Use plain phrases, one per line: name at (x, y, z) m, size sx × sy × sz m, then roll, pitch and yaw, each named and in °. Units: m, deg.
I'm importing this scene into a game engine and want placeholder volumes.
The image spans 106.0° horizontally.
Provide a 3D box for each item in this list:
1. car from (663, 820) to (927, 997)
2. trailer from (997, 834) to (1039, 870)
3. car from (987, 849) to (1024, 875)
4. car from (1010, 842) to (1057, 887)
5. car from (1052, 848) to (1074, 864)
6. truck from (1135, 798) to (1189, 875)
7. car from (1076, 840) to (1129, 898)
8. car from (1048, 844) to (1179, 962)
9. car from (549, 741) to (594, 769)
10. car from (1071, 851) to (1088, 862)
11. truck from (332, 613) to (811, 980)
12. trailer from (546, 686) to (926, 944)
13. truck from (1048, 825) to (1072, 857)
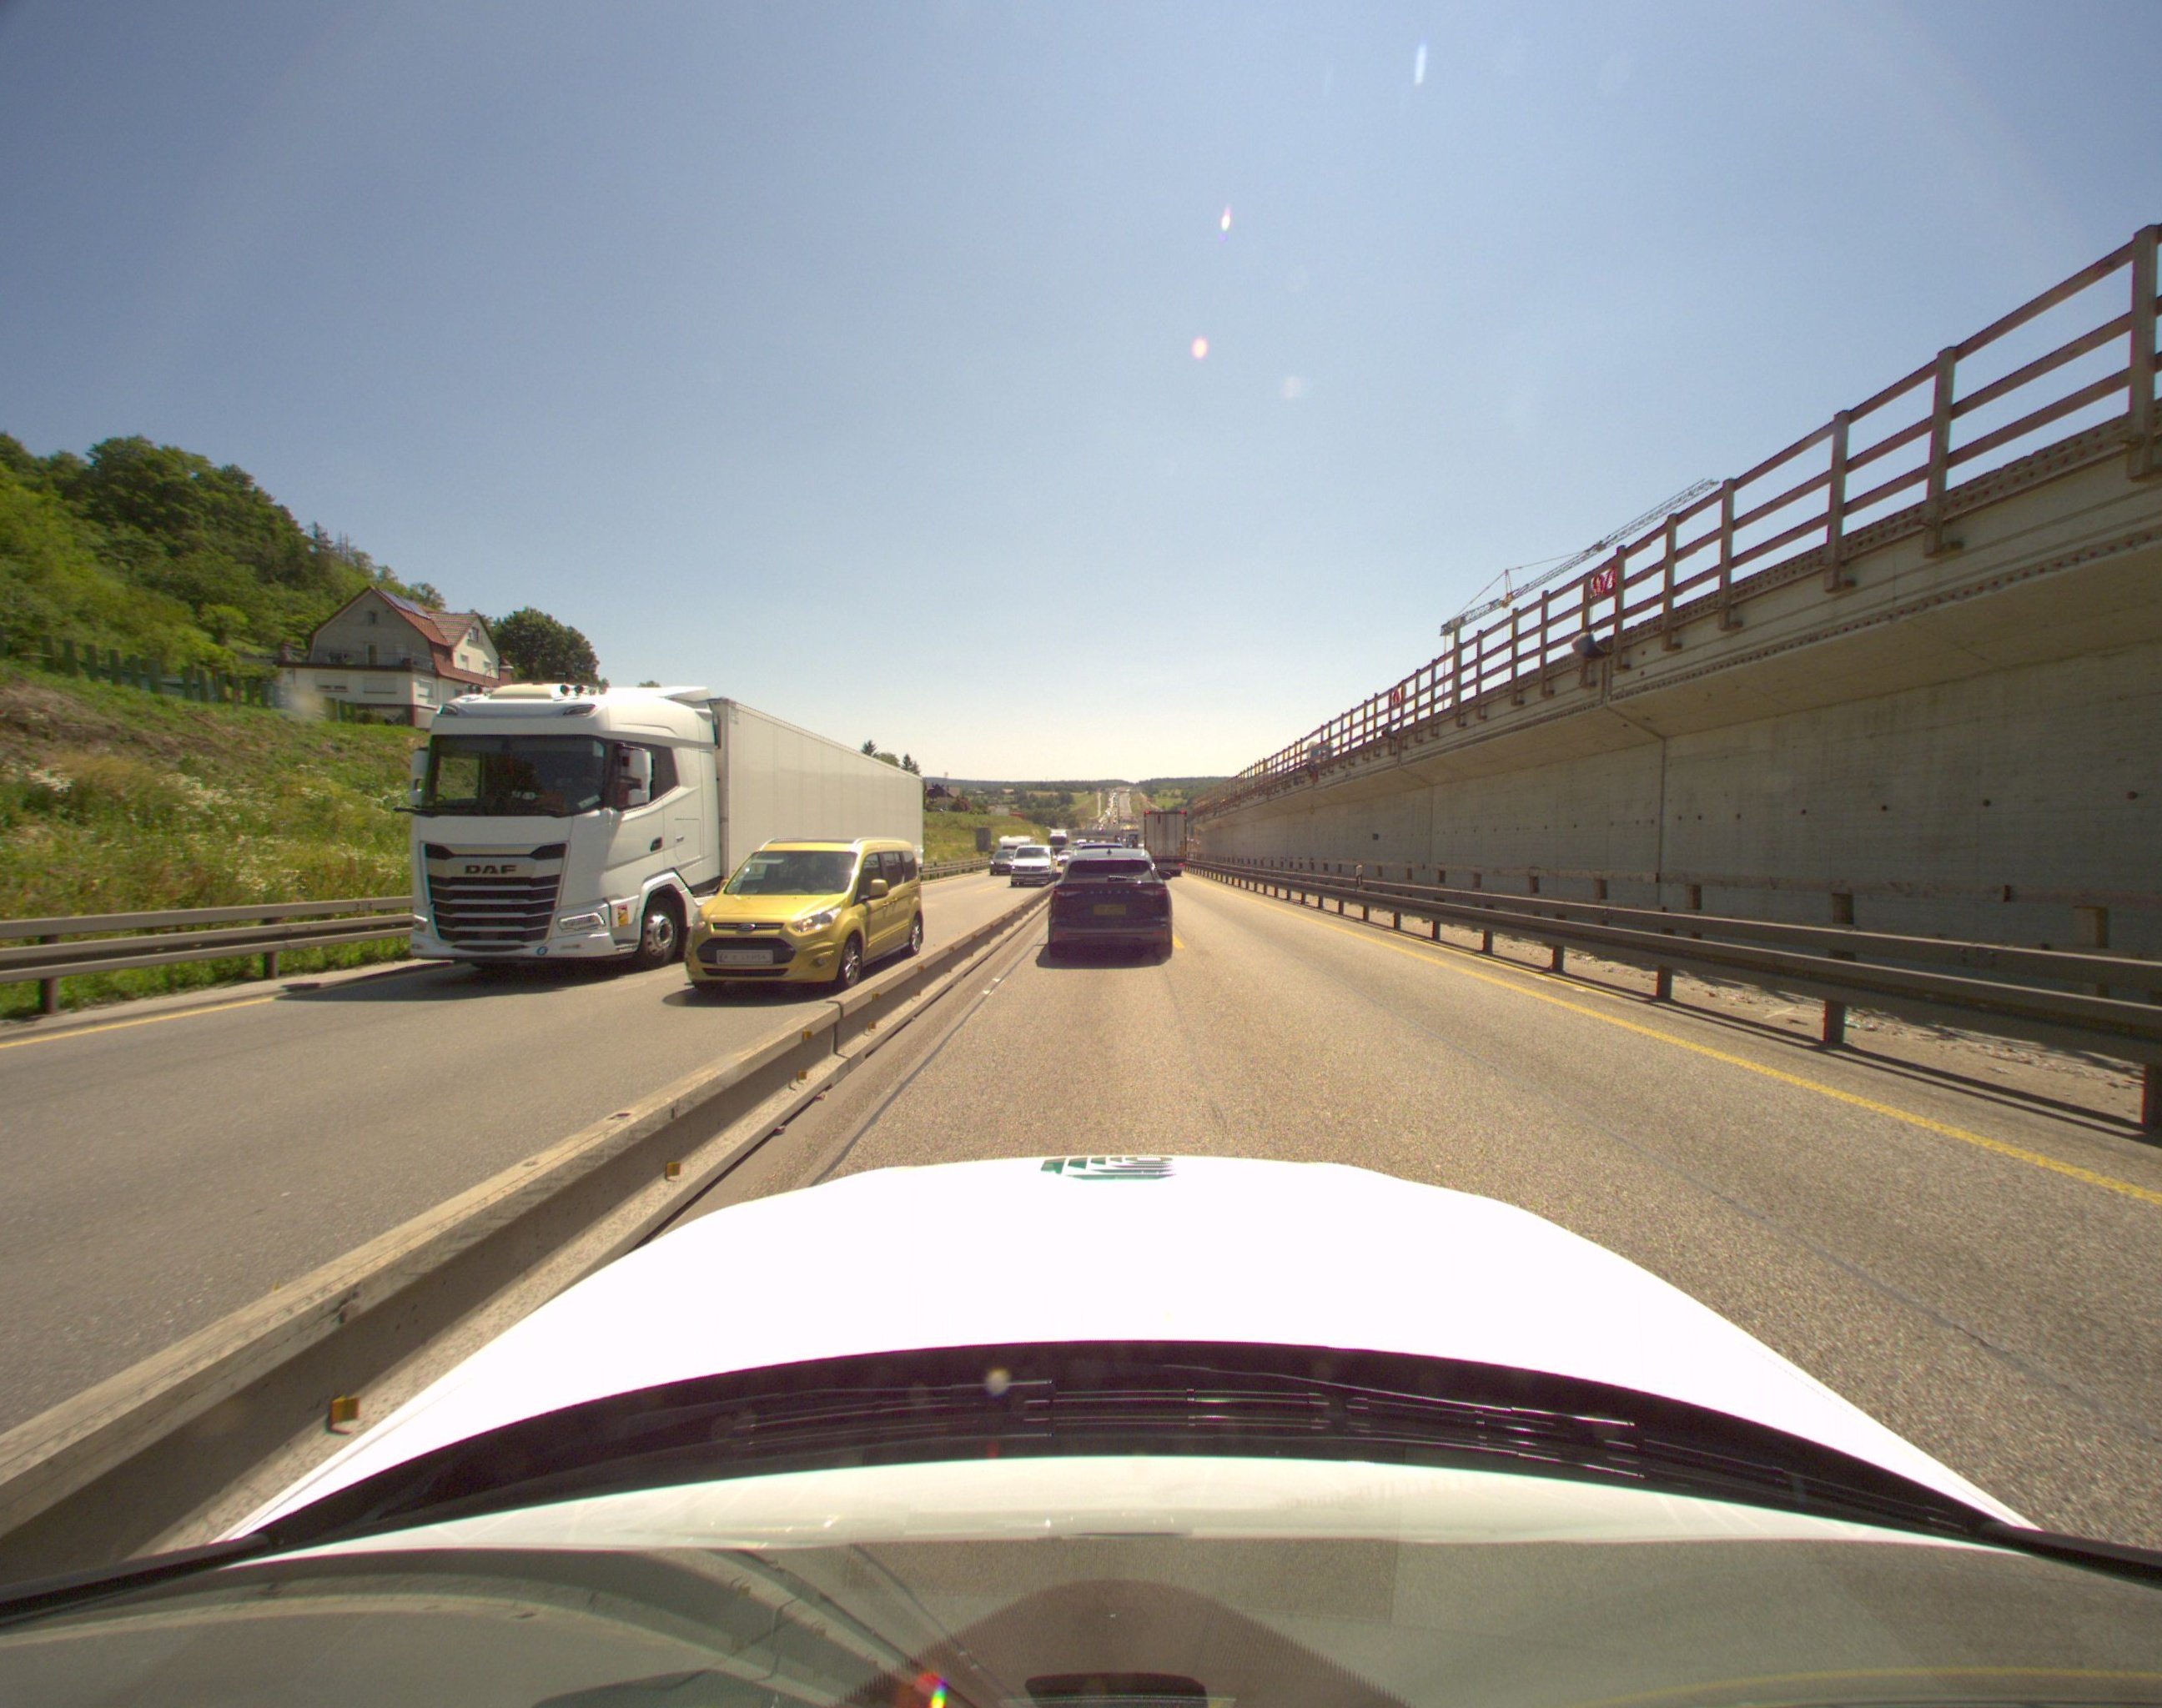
car at (-3.375, 0.561, 10.633) m, size 1.769 × 1.820 × 4.435 m, roll 0°, pitch 0°, yaw 2°
trailer at (-4.801, -0.088, 63.322) m, size 2.475 × 2.613 × 5.871 m, roll -1°, pitch -1°, yaw 3°
car at (-5.077, 0.503, 55.163) m, size 1.869 × 1.712 × 4.651 m, roll 0°, pitch 0°, yaw 3°
car at (-2.200, 0.497, 39.024) m, size 1.856 × 2.014 × 4.807 m, roll 0°, pitch -1°, yaw 2°
car at (-1.630, 0.187, 75.217) m, size 1.696 × 1.441 × 4.002 m, roll -1°, pitch -1°, yaw 3°
truck at (5.284, -0.966, 55.073) m, size 2.835 × 4.615 × 11.816 m, roll 1°, pitch -1°, yaw 2°
car at (0.725, 0.515, 29.547) m, size 1.744 × 1.895 × 3.754 m, roll 2°, pitch 0°, yaw -1°
car at (0.461, 0.673, 12.963) m, size 1.777 × 1.597 × 3.755 m, roll 0°, pitch 0°, yaw 0°
car at (-35.240, -6.836, 56.406) m, size 1.732 × 1.398 × 3.778 m, roll 2°, pitch 0°, yaw -18°
car at (-0.125, 0.301, 95.081) m, size 1.764 × 1.288 × 4.002 m, roll 1°, pitch -1°, yaw 3°
truck at (-6.958, -0.632, 12.656) m, size 3.168 × 4.238 × 6.486 m, roll 0°, pitch -1°, yaw 1°
trailer at (-6.880, -0.634, 19.893) m, size 3.208 × 4.158 × 13.412 m, roll 0°, pitch 0°, yaw 2°
truck at (-3.032, -1.834, 119.052) m, size 2.742 × 4.227 × 8.104 m, roll 3°, pitch -1°, yaw 3°
